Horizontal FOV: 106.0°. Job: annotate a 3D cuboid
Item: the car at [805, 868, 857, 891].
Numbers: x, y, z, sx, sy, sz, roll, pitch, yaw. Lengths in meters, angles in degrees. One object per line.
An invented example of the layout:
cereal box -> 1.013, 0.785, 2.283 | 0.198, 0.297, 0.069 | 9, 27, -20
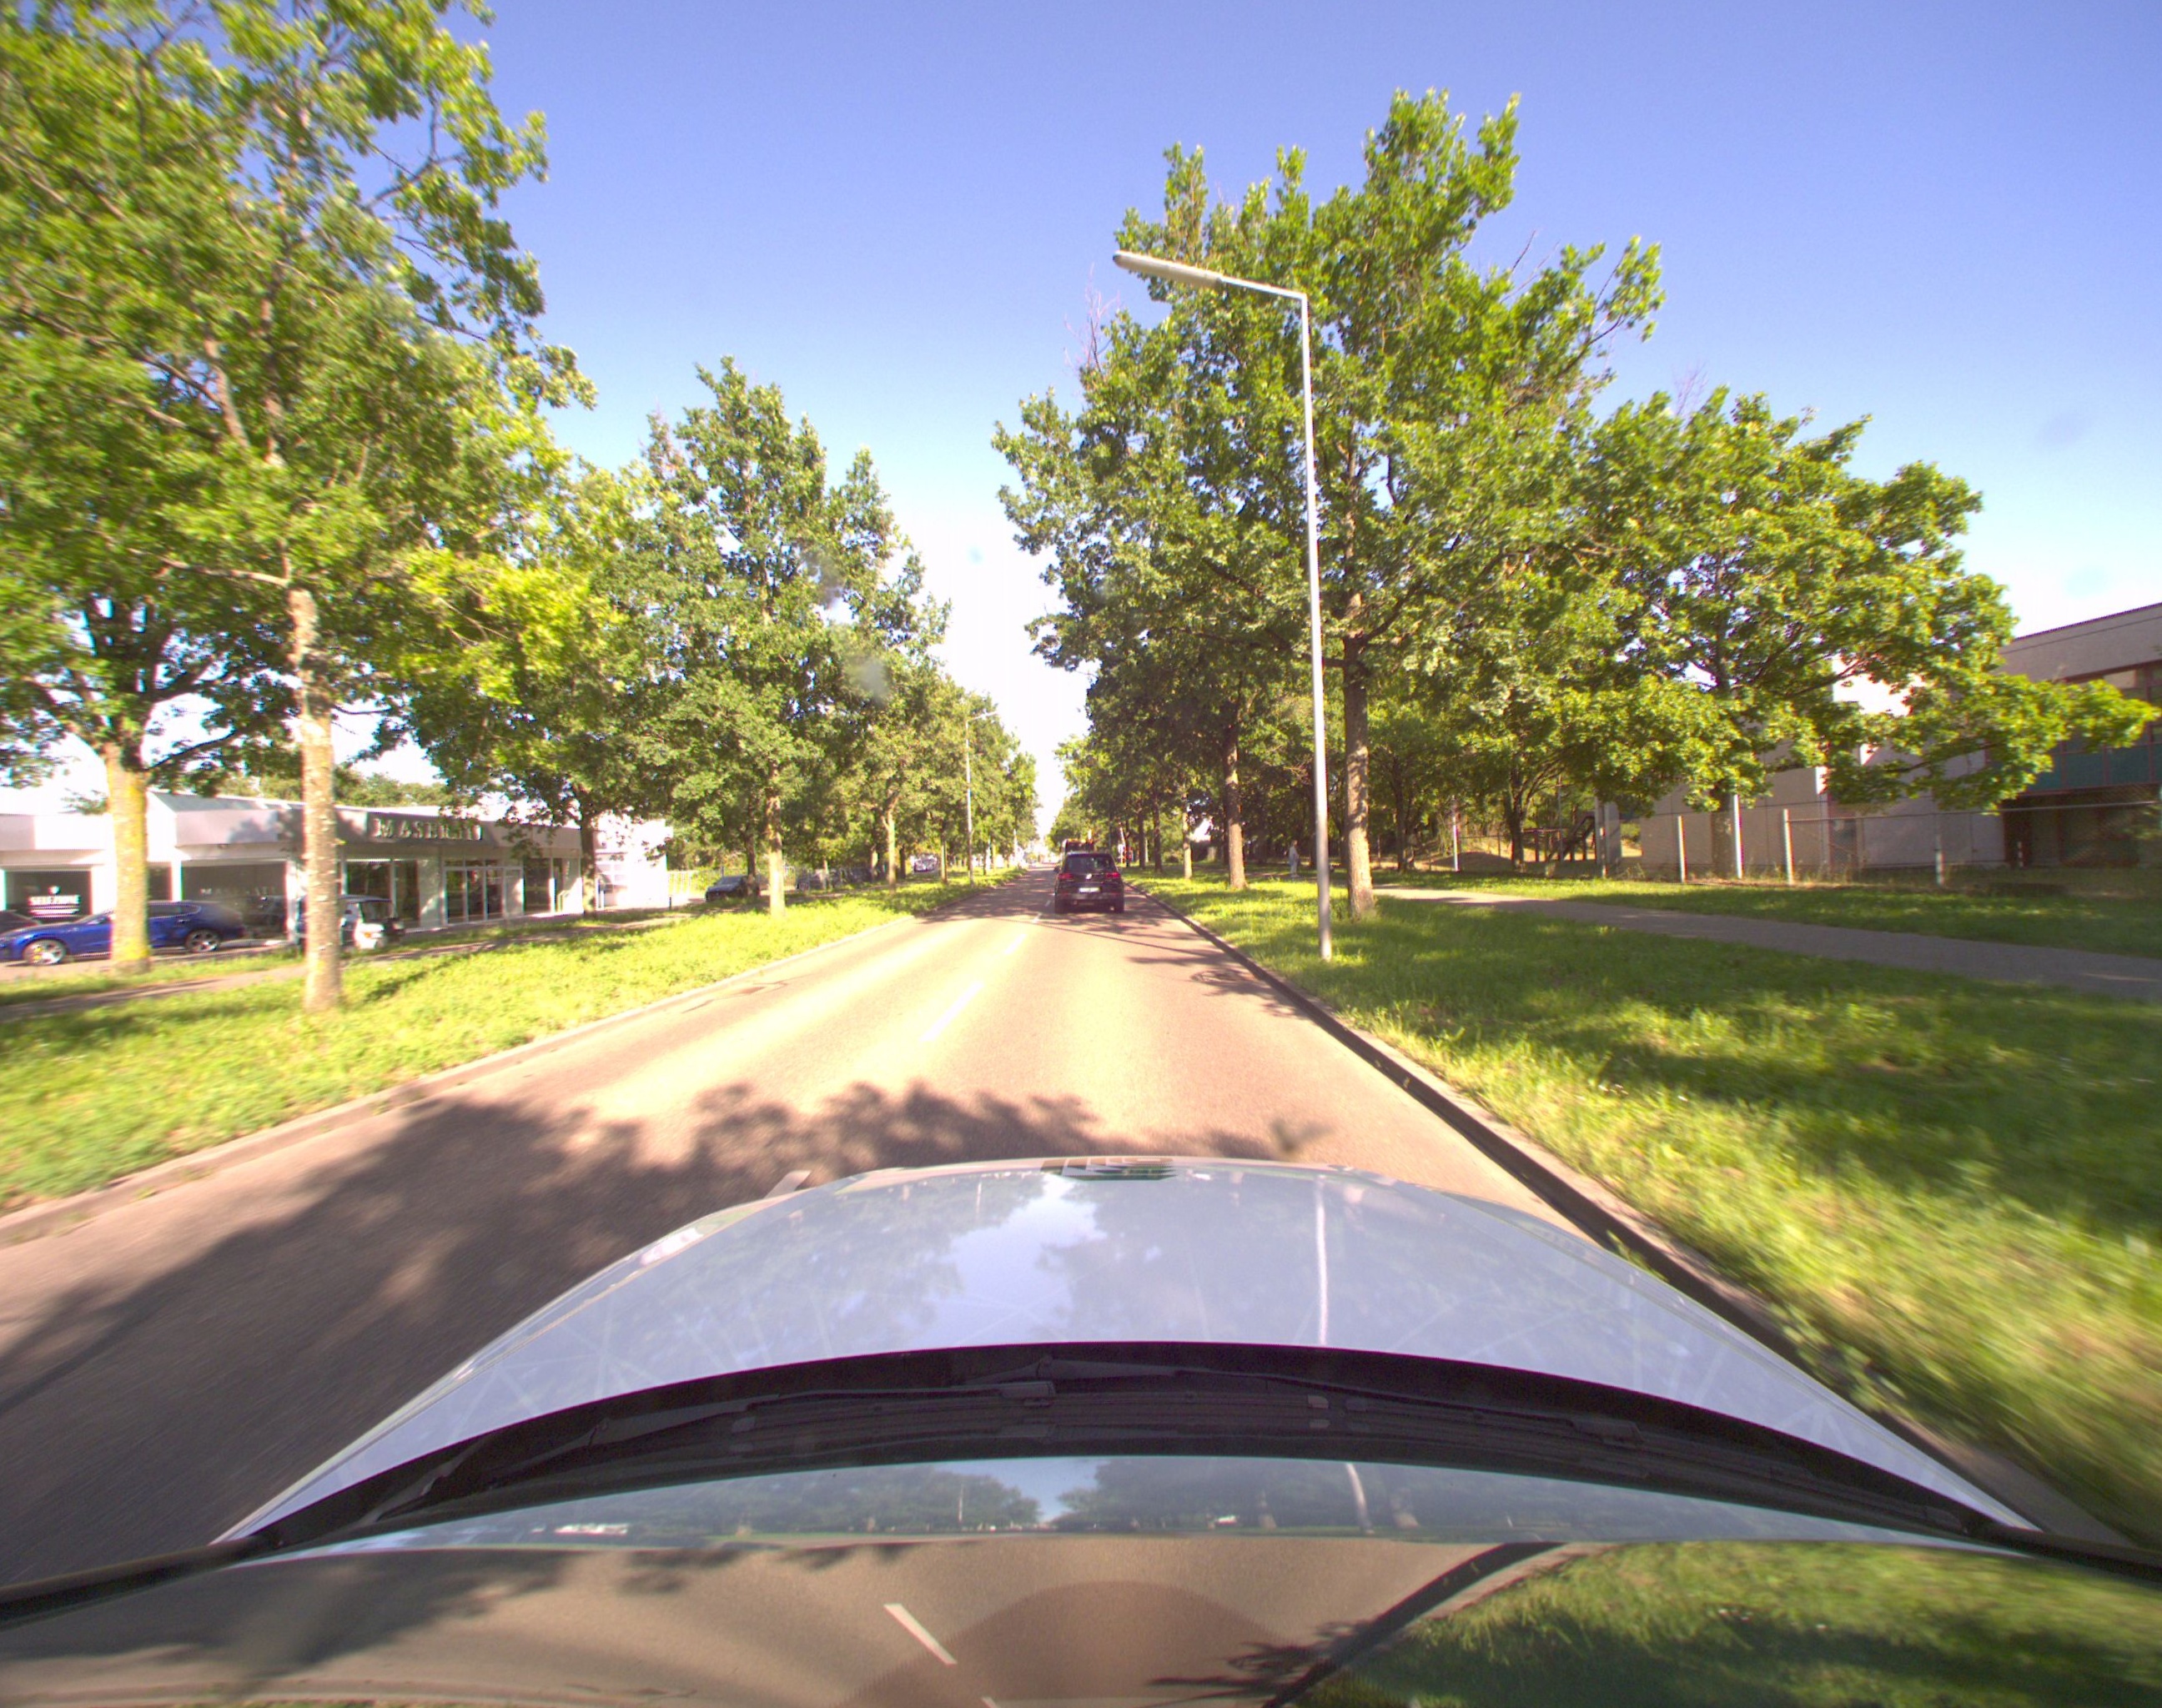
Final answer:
car -> -21.242, 2.144, 69.311 | 3.984, 1.802, 1.995 | 0, -1, -8

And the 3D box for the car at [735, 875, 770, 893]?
car -> -32.142, 2.909, 79.812 | 1.991, 1.567, 4.874 | 0, 0, -6

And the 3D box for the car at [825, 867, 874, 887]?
car -> -21.849, 2.123, 77.069 | 4.184, 1.802, 1.996 | 0, -1, -6

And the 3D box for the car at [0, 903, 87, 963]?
car -> -33.657, 2.485, 24.101 | 1.975, 1.660, 5.041 | -1, 1, 28

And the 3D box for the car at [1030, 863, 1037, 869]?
car -> -11.510, 2.917, 197.598 | 1.560, 1.504, 4.000 | 0, 0, 0

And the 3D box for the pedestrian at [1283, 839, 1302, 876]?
pedestrian -> 9.684, 0.161, 37.246 | 0.711, 1.631, 0.613 | -4, 0, 17

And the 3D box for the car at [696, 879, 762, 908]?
car -> -21.614, 2.405, 50.274 | 1.988, 1.598, 5.012 | 0, 0, -1

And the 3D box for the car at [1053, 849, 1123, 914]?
car -> 0.131, 0.718, 22.733 | 1.777, 1.633, 3.997 | 0, 0, -2

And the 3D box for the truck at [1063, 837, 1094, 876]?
truck -> -0.313, 0.271, 73.911 | 2.505, 3.243, 8.146 | -2, 0, -2

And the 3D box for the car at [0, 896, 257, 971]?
car -> -29.185, 2.339, 24.983 | 1.974, 1.660, 5.294 | -1, 1, 39

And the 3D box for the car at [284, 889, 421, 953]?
car -> -18.503, 1.693, 20.706 | 2.547, 1.470, 1.432 | -2, 0, 17
